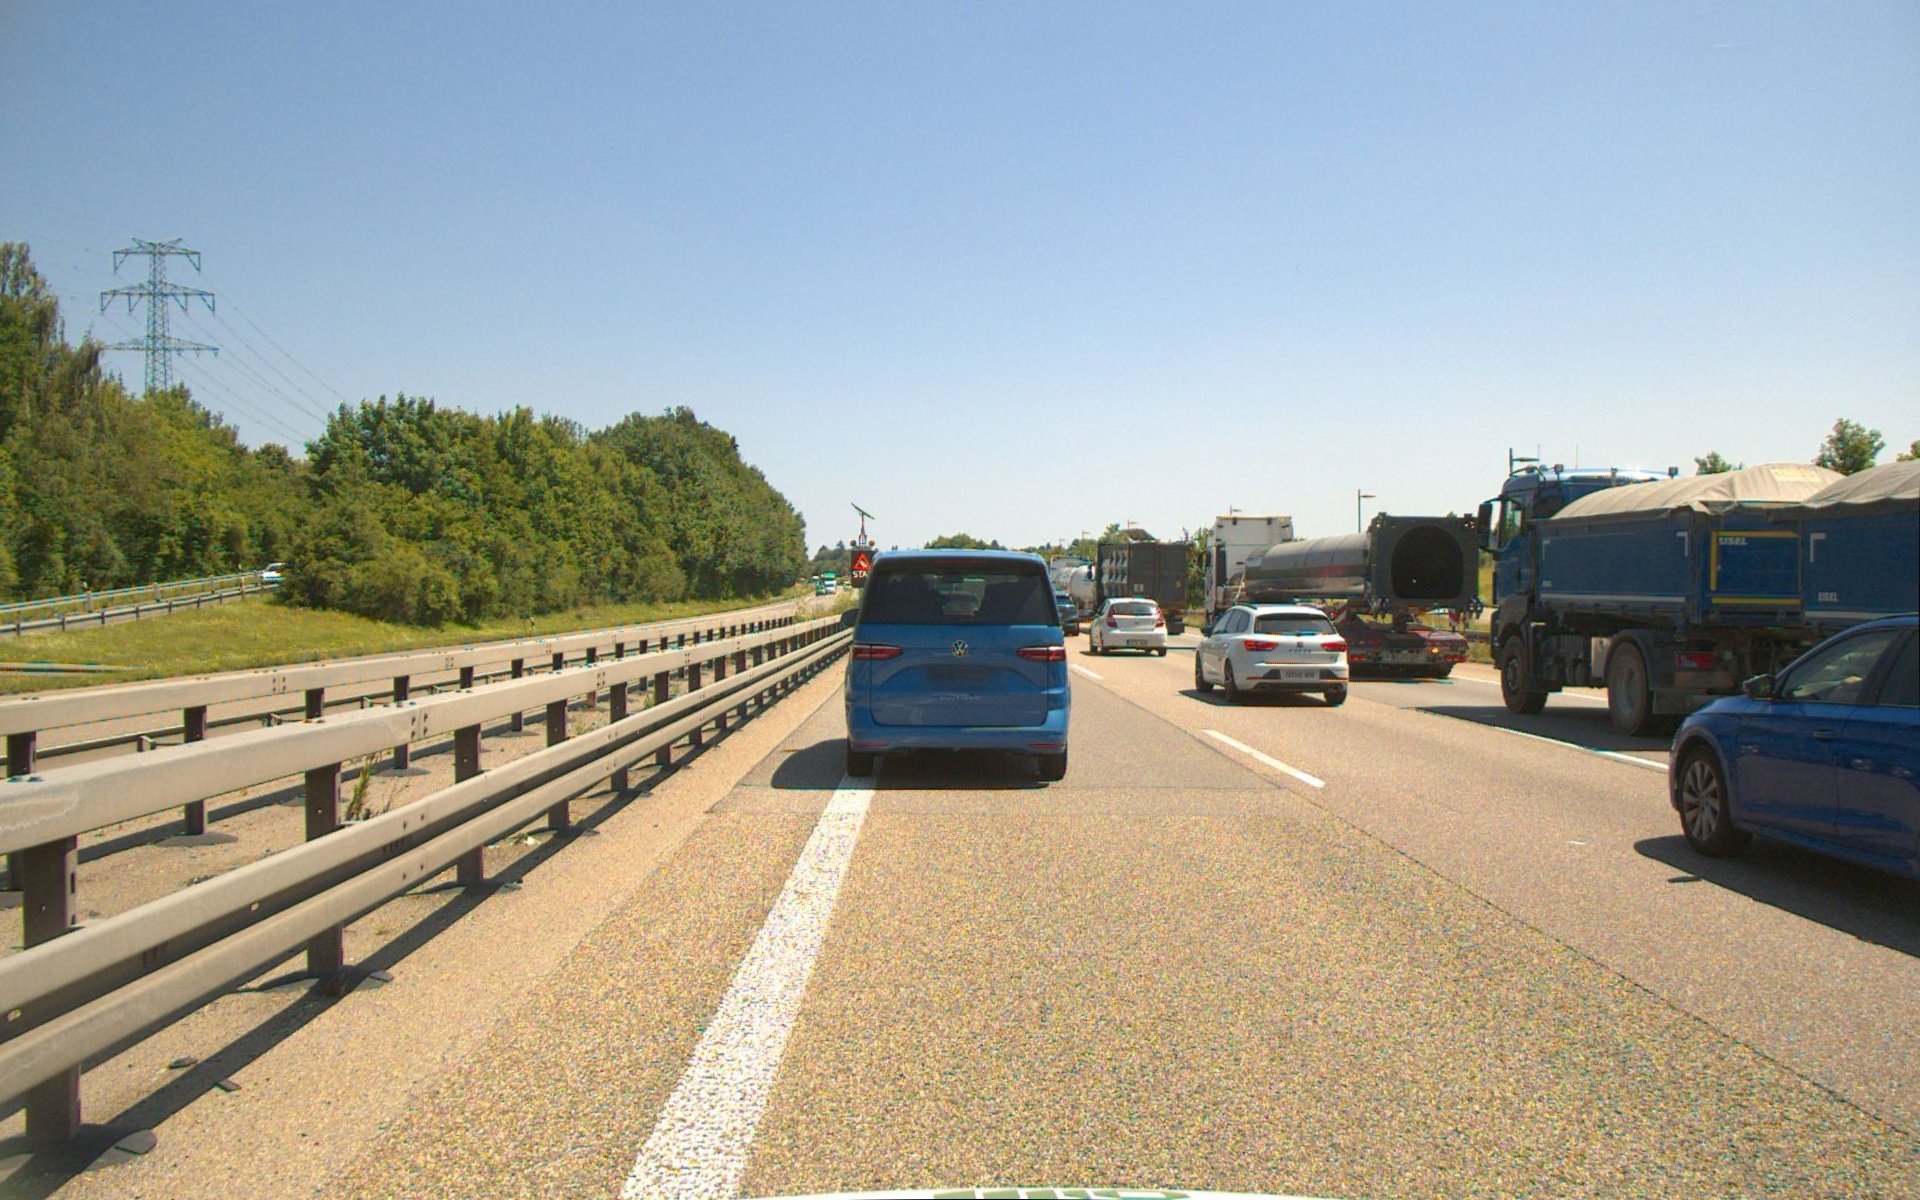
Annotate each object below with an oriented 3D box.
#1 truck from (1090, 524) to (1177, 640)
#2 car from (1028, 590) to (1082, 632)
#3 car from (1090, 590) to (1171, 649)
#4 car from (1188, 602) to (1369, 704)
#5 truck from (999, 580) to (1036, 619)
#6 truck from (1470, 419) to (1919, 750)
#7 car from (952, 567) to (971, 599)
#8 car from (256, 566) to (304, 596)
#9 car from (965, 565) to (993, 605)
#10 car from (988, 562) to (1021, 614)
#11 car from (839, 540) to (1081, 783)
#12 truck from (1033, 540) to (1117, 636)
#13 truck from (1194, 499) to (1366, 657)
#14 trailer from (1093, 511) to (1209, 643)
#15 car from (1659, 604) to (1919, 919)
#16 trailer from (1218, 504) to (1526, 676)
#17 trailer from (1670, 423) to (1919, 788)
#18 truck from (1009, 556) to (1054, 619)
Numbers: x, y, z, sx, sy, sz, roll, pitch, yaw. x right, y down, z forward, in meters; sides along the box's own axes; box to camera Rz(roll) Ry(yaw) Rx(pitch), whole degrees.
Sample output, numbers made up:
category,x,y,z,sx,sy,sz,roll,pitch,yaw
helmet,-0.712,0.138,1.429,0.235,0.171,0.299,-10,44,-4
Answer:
category,x,y,z,sx,sy,sz,roll,pitch,yaw
truck,8.210,-0.785,79.041,3.583,5.270,5.709,1,-1,1
car,3.640,0.431,63.899,1.745,1.551,3.999,1,-1,-1
car,4.527,0.527,44.419,1.802,1.480,4.000,1,-1,1
car,4.757,0.746,25.241,1.830,1.385,3.998,1,0,-2
truck,2.918,-0.013,84.511,1.690,1.890,3.999,1,-1,-1
truck,8.855,-0.212,20.611,2.688,3.369,7.132,1,1,-1
car,0.245,-2.599,258.474,2.661,4.795,11.557,1,-1,-1
car,-41.859,-1.169,101.867,1.604,1.704,4.890,1,-1,-9
car,2.619,-2.026,228.068,3.155,5.349,8.136,1,-1,-4
car,4.745,-1.270,176.868,3.153,5.349,8.142,1,-1,-1
car,0.020,0.504,14.942,1.862,1.870,4.000,1,-1,0
truck,6.804,-0.573,100.625,3.548,5.304,15.683,1,-1,-1
truck,9.063,-0.545,47.909,3.551,4.166,7.524,1,-1,1
trailer,8.168,-0.864,72.693,3.572,5.226,13.074,1,-1,0
car,5.312,0.774,8.344,1.671,1.466,4.427,1,-1,0
trailer,8.903,-0.096,38.694,3.571,3.133,15.773,1,-1,1
trailer,8.932,0.065,12.965,2.688,2.886,9.114,1,1,-1
truck,5.911,-0.918,137.538,3.006,5.006,10.687,1,-1,-1
